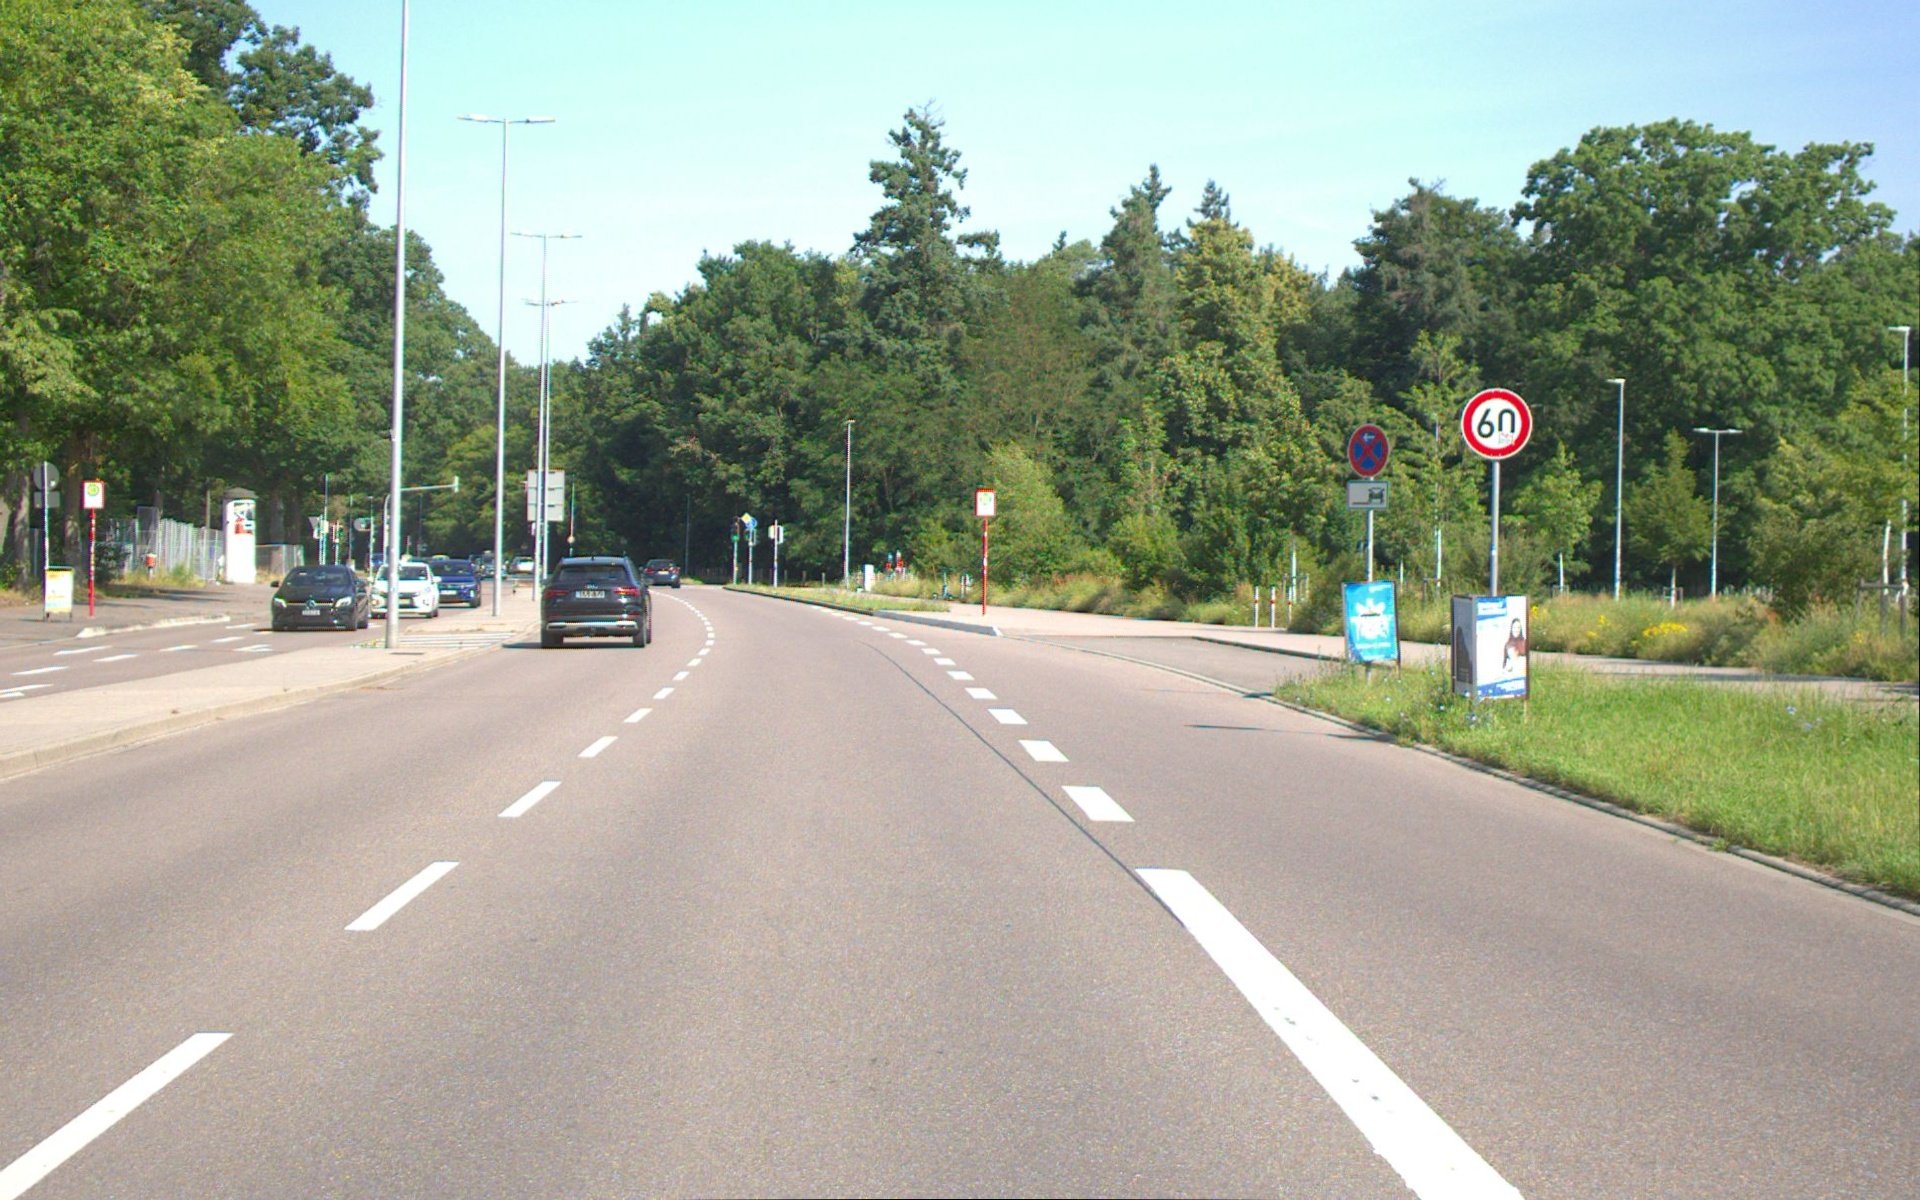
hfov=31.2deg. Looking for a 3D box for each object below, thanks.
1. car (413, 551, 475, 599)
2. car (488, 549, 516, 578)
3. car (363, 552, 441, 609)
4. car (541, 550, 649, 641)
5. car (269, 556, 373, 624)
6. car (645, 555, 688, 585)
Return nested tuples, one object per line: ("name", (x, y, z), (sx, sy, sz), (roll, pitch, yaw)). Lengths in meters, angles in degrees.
("car", (-16.554, -0.817, 110.428), (1.753, 1.481, 3.948), (-1, 1, -5))
("car", (-31.120, -2.501, 233.661), (1.841, 1.925, 4.630), (0, 1, -6))
("car", (-14.826, -0.528, 91.486), (1.623, 1.461, 3.801), (-1, 1, -3))
("car", (-6.387, -0.105, 60.412), (1.687, 1.539, 4.149), (0, 1, -3))
("car", (-13.774, -0.237, 74.278), (1.810, 1.383, 4.162), (-1, 1, -5))
("car", (-14.563, -1.492, 170.313), (1.940, 1.415, 4.294), (1, 1, -7))
